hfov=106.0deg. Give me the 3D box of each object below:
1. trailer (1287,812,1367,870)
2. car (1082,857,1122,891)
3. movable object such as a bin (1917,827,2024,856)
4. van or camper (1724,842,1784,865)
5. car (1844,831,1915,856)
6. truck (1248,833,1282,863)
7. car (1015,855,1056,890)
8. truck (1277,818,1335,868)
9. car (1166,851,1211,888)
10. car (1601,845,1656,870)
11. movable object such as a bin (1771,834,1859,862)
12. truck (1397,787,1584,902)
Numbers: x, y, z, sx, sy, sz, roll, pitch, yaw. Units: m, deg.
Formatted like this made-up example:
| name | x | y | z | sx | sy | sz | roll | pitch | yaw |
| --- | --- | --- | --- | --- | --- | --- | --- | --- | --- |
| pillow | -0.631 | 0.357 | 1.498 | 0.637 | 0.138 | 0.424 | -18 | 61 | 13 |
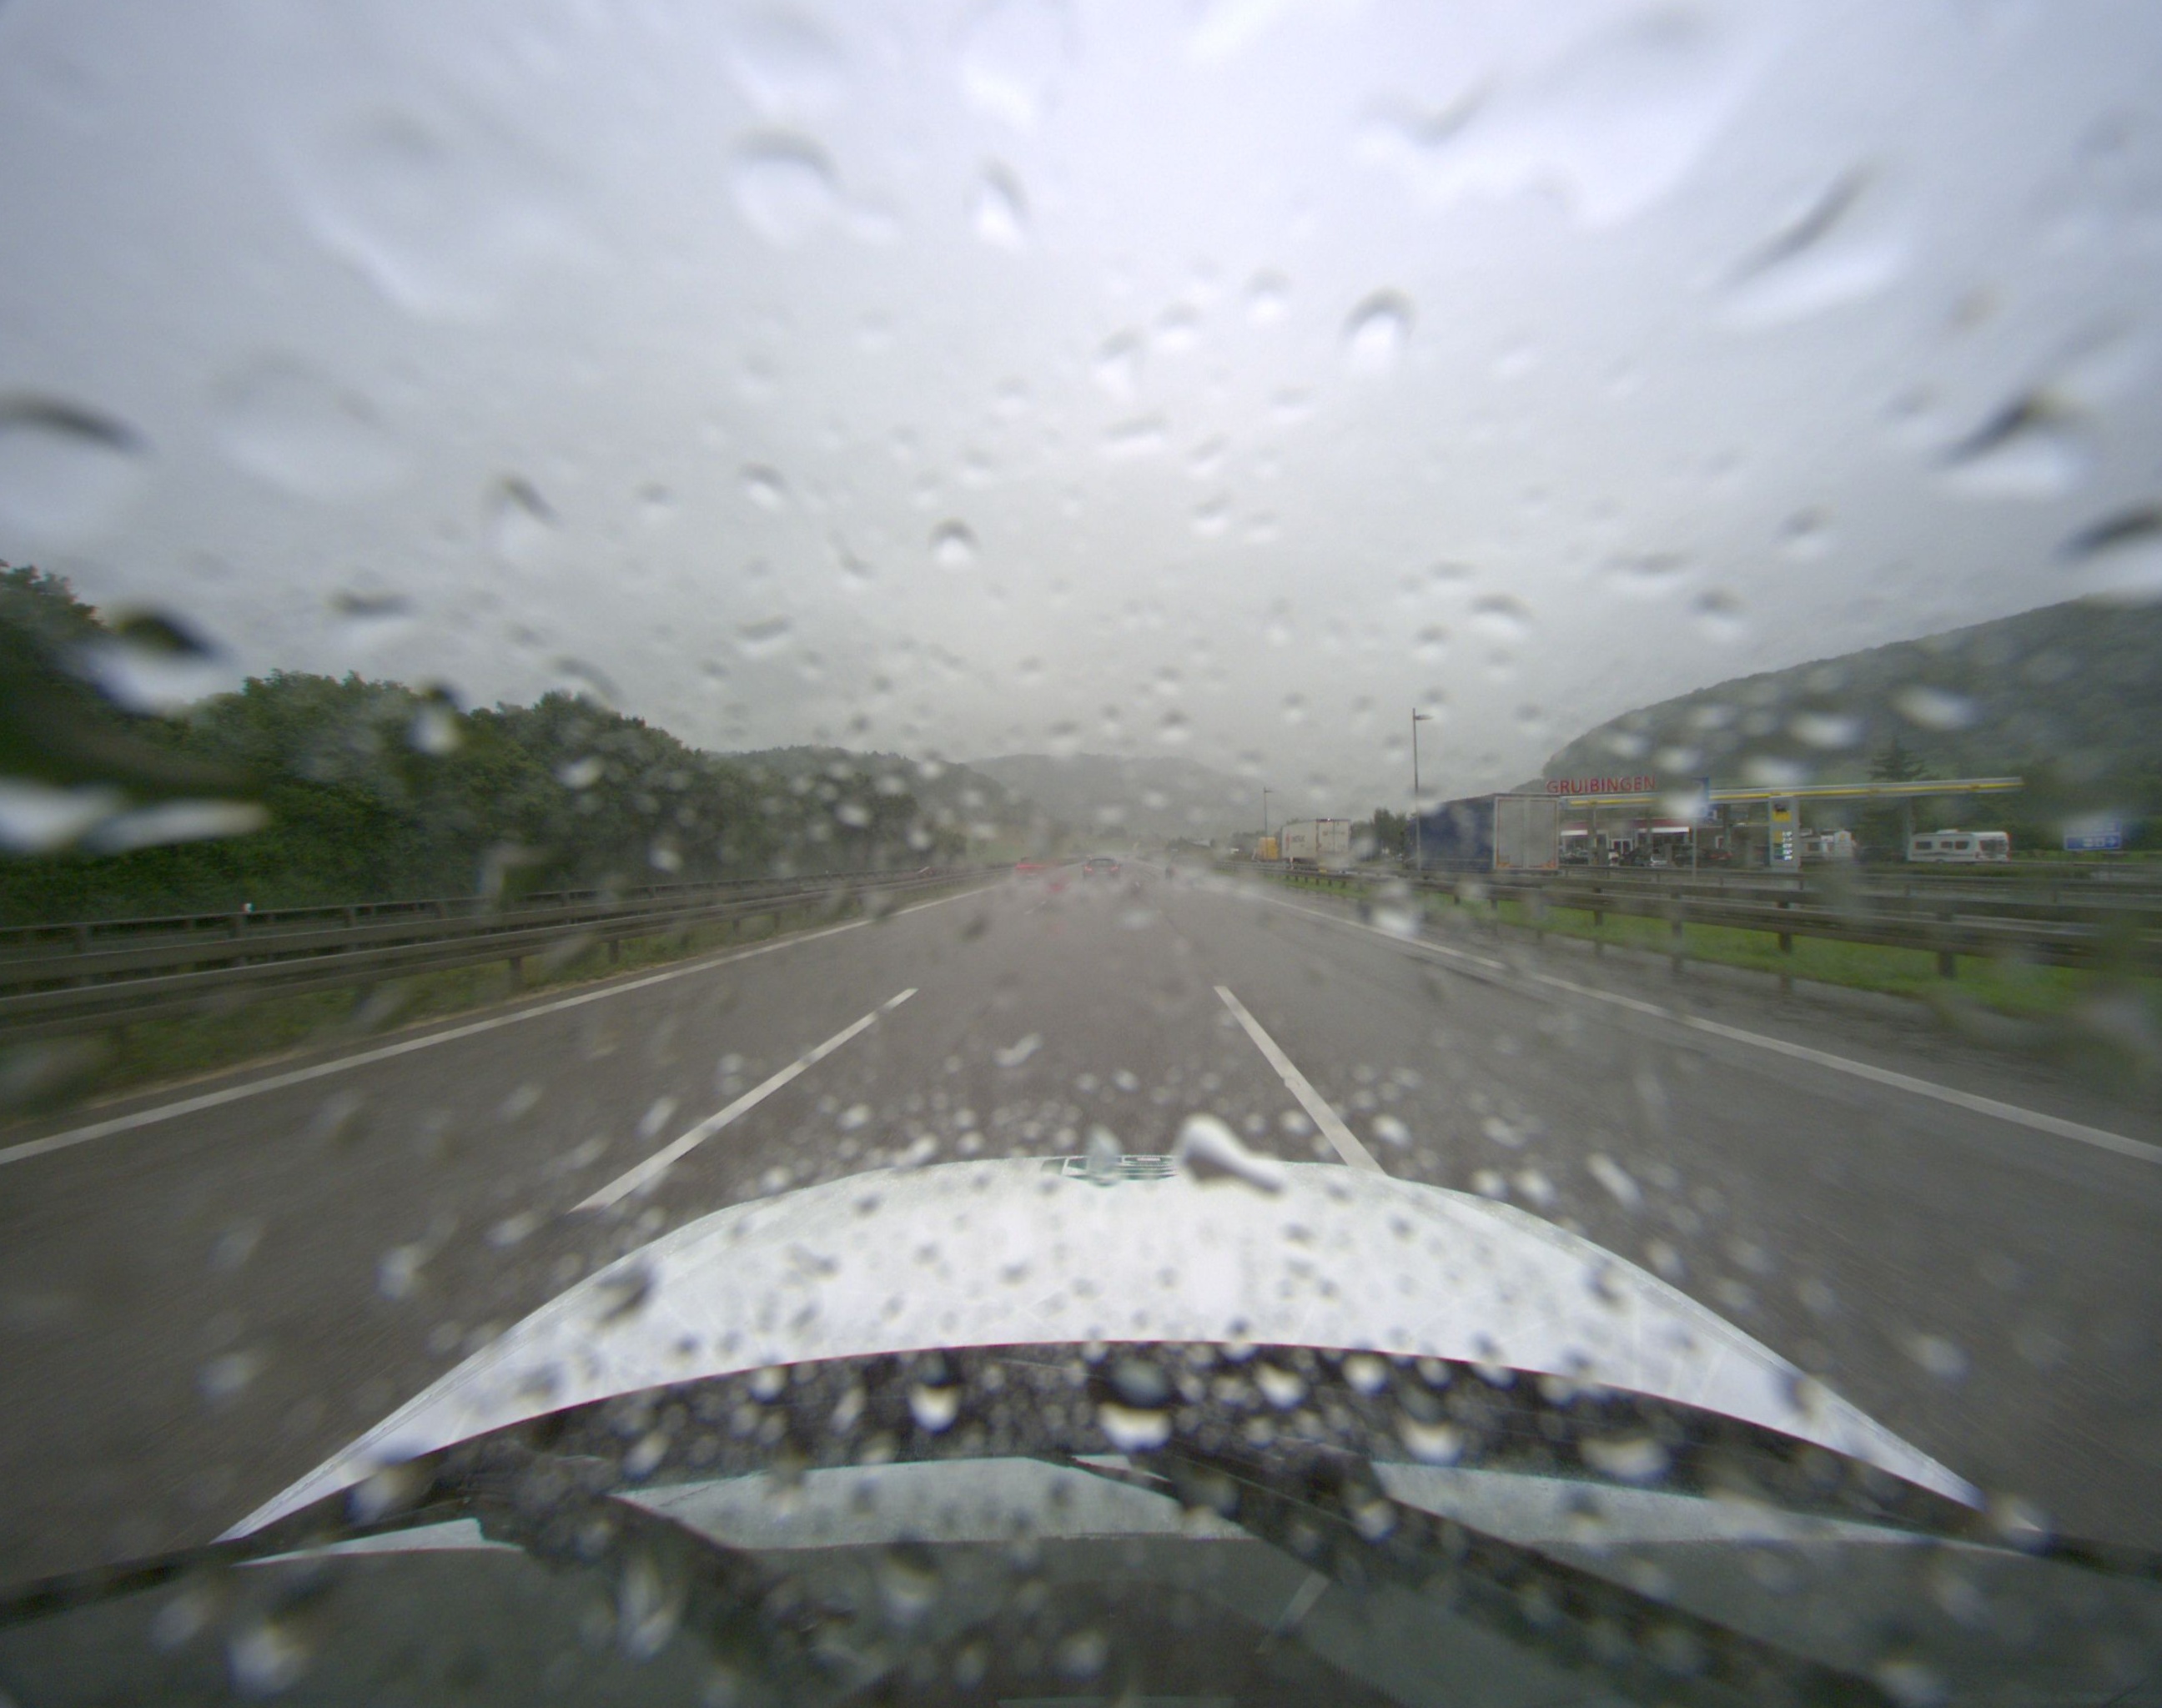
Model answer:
| name | x | y | z | sx | sy | sz | roll | pitch | yaw |
| --- | --- | --- | --- | --- | --- | --- | --- | --- | --- |
| trailer | 19.670 | -0.944 | 66.102 | 3.501 | 4.261 | 11.931 | 0 | 0 | 3 |
| car | 1.081 | 0.934 | 39.596 | 1.852 | 1.589 | 4.003 | 0 | 0 | 3 |
| movable object such as a bin | 65.715 | -0.860 | 60.331 | 2.158 | 2.014 | 5.385 | 0 | 0 | 2 |
| van or camper | 58.671 | -0.025 | 71.056 | 1.986 | 2.014 | 4.002 | 0 | 0 | 2 |
| car | 65.373 | -0.823 | 66.762 | 1.986 | 2.014 | 4.001 | 0 | 0 | 2 |
| truck | 20.051 | -0.582 | 89.176 | 2.280 | 3.147 | 8.874 | 0 | 0 | 4 |
| car | -2.485 | 0.970 | 45.561 | 1.877 | 1.816 | 4.002 | -1 | 0 | 2 |
| truck | 20.115 | -0.898 | 73.398 | 3.512 | 4.220 | 7.824 | 0 | 0 | 4 |
| car | 5.435 | 0.772 | 41.659 | 1.964 | 1.760 | 4.003 | -1 | 0 | 3 |
| car | 45.145 | 0.267 | 67.203 | 1.953 | 2.014 | 4.002 | 0 | 0 | 2 |
| movable object such as a bin | 58.481 | -0.444 | 65.038 | 1.986 | 2.189 | 5.726 | 0 | 0 | 2 |
| truck | 17.872 | -0.371 | 36.780 | 3.387 | 4.402 | 11.057 | 0 | 0 | 3 |
